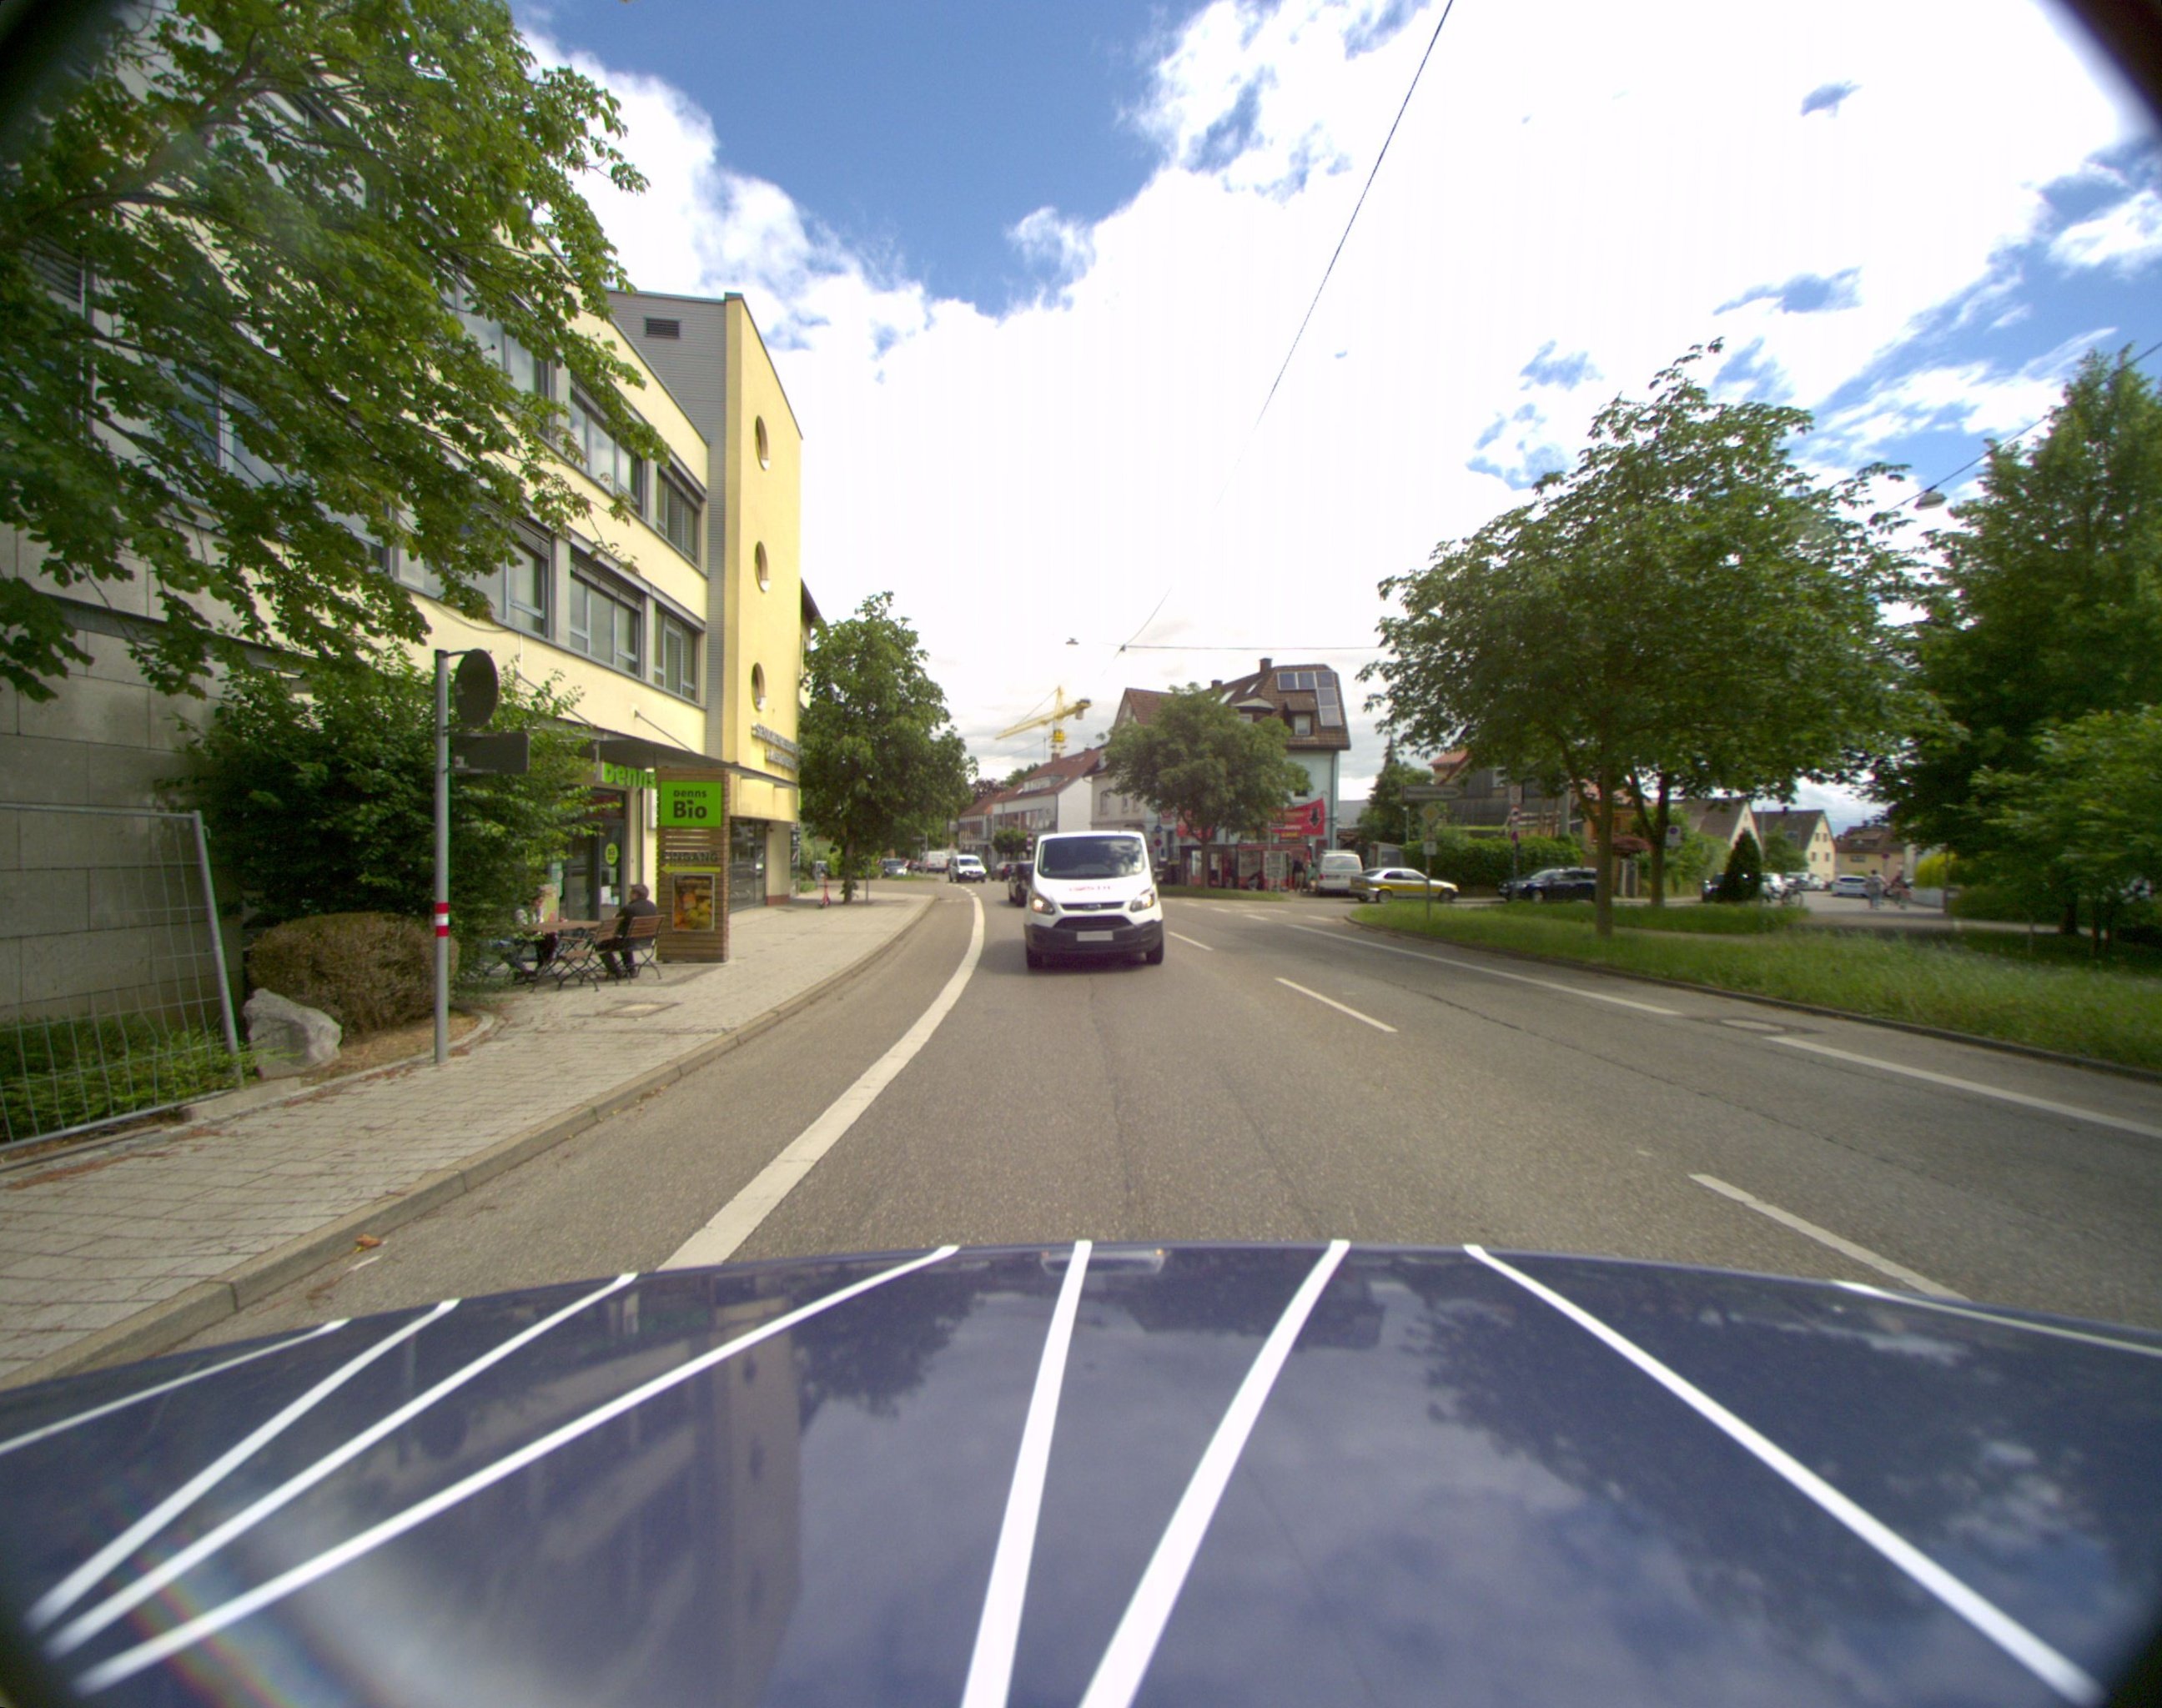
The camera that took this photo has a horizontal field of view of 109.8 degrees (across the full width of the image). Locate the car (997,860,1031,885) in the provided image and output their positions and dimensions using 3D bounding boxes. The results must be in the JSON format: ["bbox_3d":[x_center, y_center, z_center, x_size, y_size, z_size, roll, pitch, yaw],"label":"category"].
[{"bbox_3d":[-4.634,1.209,51.899,1.693,1.473,4.221,4,0,-13],"label":"car"}]

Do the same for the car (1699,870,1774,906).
[{"bbox_3d":[29.509,1.483,34.163,3.784,1.315,1.589,-1,3,-34],"label":"car"}]

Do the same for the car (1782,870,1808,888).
[{"bbox_3d":[72.446,2.536,77.074,3.635,1.549,1.589,-2,3,-43],"label":"car"}]

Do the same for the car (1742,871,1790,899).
[{"bbox_3d":[39.011,1.733,43.229,3.785,1.315,1.589,-2,3,-42],"label":"car"}]

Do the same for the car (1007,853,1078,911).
[{"bbox_3d":[-1.382,0.834,25.469,1.810,1.619,4.682,-3,1,-9],"label":"car"}]

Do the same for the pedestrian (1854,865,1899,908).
[{"bbox_3d":[30.015,1.240,28.675,0.736,1.584,0.814,0,-3,-8],"label":"pedestrian"}]

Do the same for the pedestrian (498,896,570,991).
[{"bbox_3d":[-7.358,1.191,10.235,0.578,1.197,0.503,-1,2,-5],"label":"pedestrian"}]

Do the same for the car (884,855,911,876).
[{"bbox_3d":[-15.182,0.918,62.733,1.697,1.656,4.454,1,-1,-20],"label":"car"}]

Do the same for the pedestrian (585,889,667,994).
[{"bbox_3d":[-6.019,1.134,10.067,0.689,1.309,0.579,0,2,11],"label":"pedestrian"}]

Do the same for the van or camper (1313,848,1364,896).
[{"bbox_3d":[11.652,0.760,34.653,1.787,1.982,4.383,1,1,14],"label":"van or camper"}]

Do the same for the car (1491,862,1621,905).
[{"bbox_3d":[18.623,1.145,29.874,4.000,1.540,1.814,0,3,-5],"label":"car"}]

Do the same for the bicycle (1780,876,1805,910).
[{"bbox_3d":[21.166,1.144,22.580,0.462,0.855,2.230,1,2,45],"label":"bicycle"}]

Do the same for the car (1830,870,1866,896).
[{"bbox_3d":[52.920,1.970,52.416,3.635,1.549,1.589,-2,3,-43],"label":"car"}]

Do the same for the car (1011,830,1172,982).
[{"bbox_3d":[0.165,0.706,12.922,2.107,1.982,5.229,-2,0,0],"label":"car"}]

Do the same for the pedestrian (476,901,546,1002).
[{"bbox_3d":[-7.105,1.201,9.492,0.523,1.175,0.500,-1,2,-16],"label":"pedestrian"}]

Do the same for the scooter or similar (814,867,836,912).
[{"bbox_3d":[-8.026,1.087,23.844,0.382,1.309,1.457,-1,2,-8],"label":"scooter or similar"}]

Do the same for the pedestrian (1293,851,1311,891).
[{"bbox_3d":[10.662,0.800,36.686,0.626,1.885,0.563,-2,2,-33],"label":"pedestrian"}]

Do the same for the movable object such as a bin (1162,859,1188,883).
[{"bbox_3d":[5.505,0.990,44.415,1.024,1.347,1.244,-1,2,-23],"label":"movable object such as a bin"}]

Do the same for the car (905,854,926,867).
[{"bbox_3d":[-20.113,0.824,92.443,1.778,1.417,4.100,3,0,-22],"label":"car"}]

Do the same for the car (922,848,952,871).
[{"bbox_3d":[-15.413,0.567,81.079,2.072,2.339,5.173,3,-1,-22],"label":"car"}]

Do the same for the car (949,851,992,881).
[{"bbox_3d":[-7.350,0.743,50.196,1.968,1.797,4.421,-1,2,-19],"label":"car"}]

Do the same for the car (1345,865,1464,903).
[{"bbox_3d":[12.853,1.165,30.312,4.030,1.405,1.813,0,2,-10],"label":"car"}]
